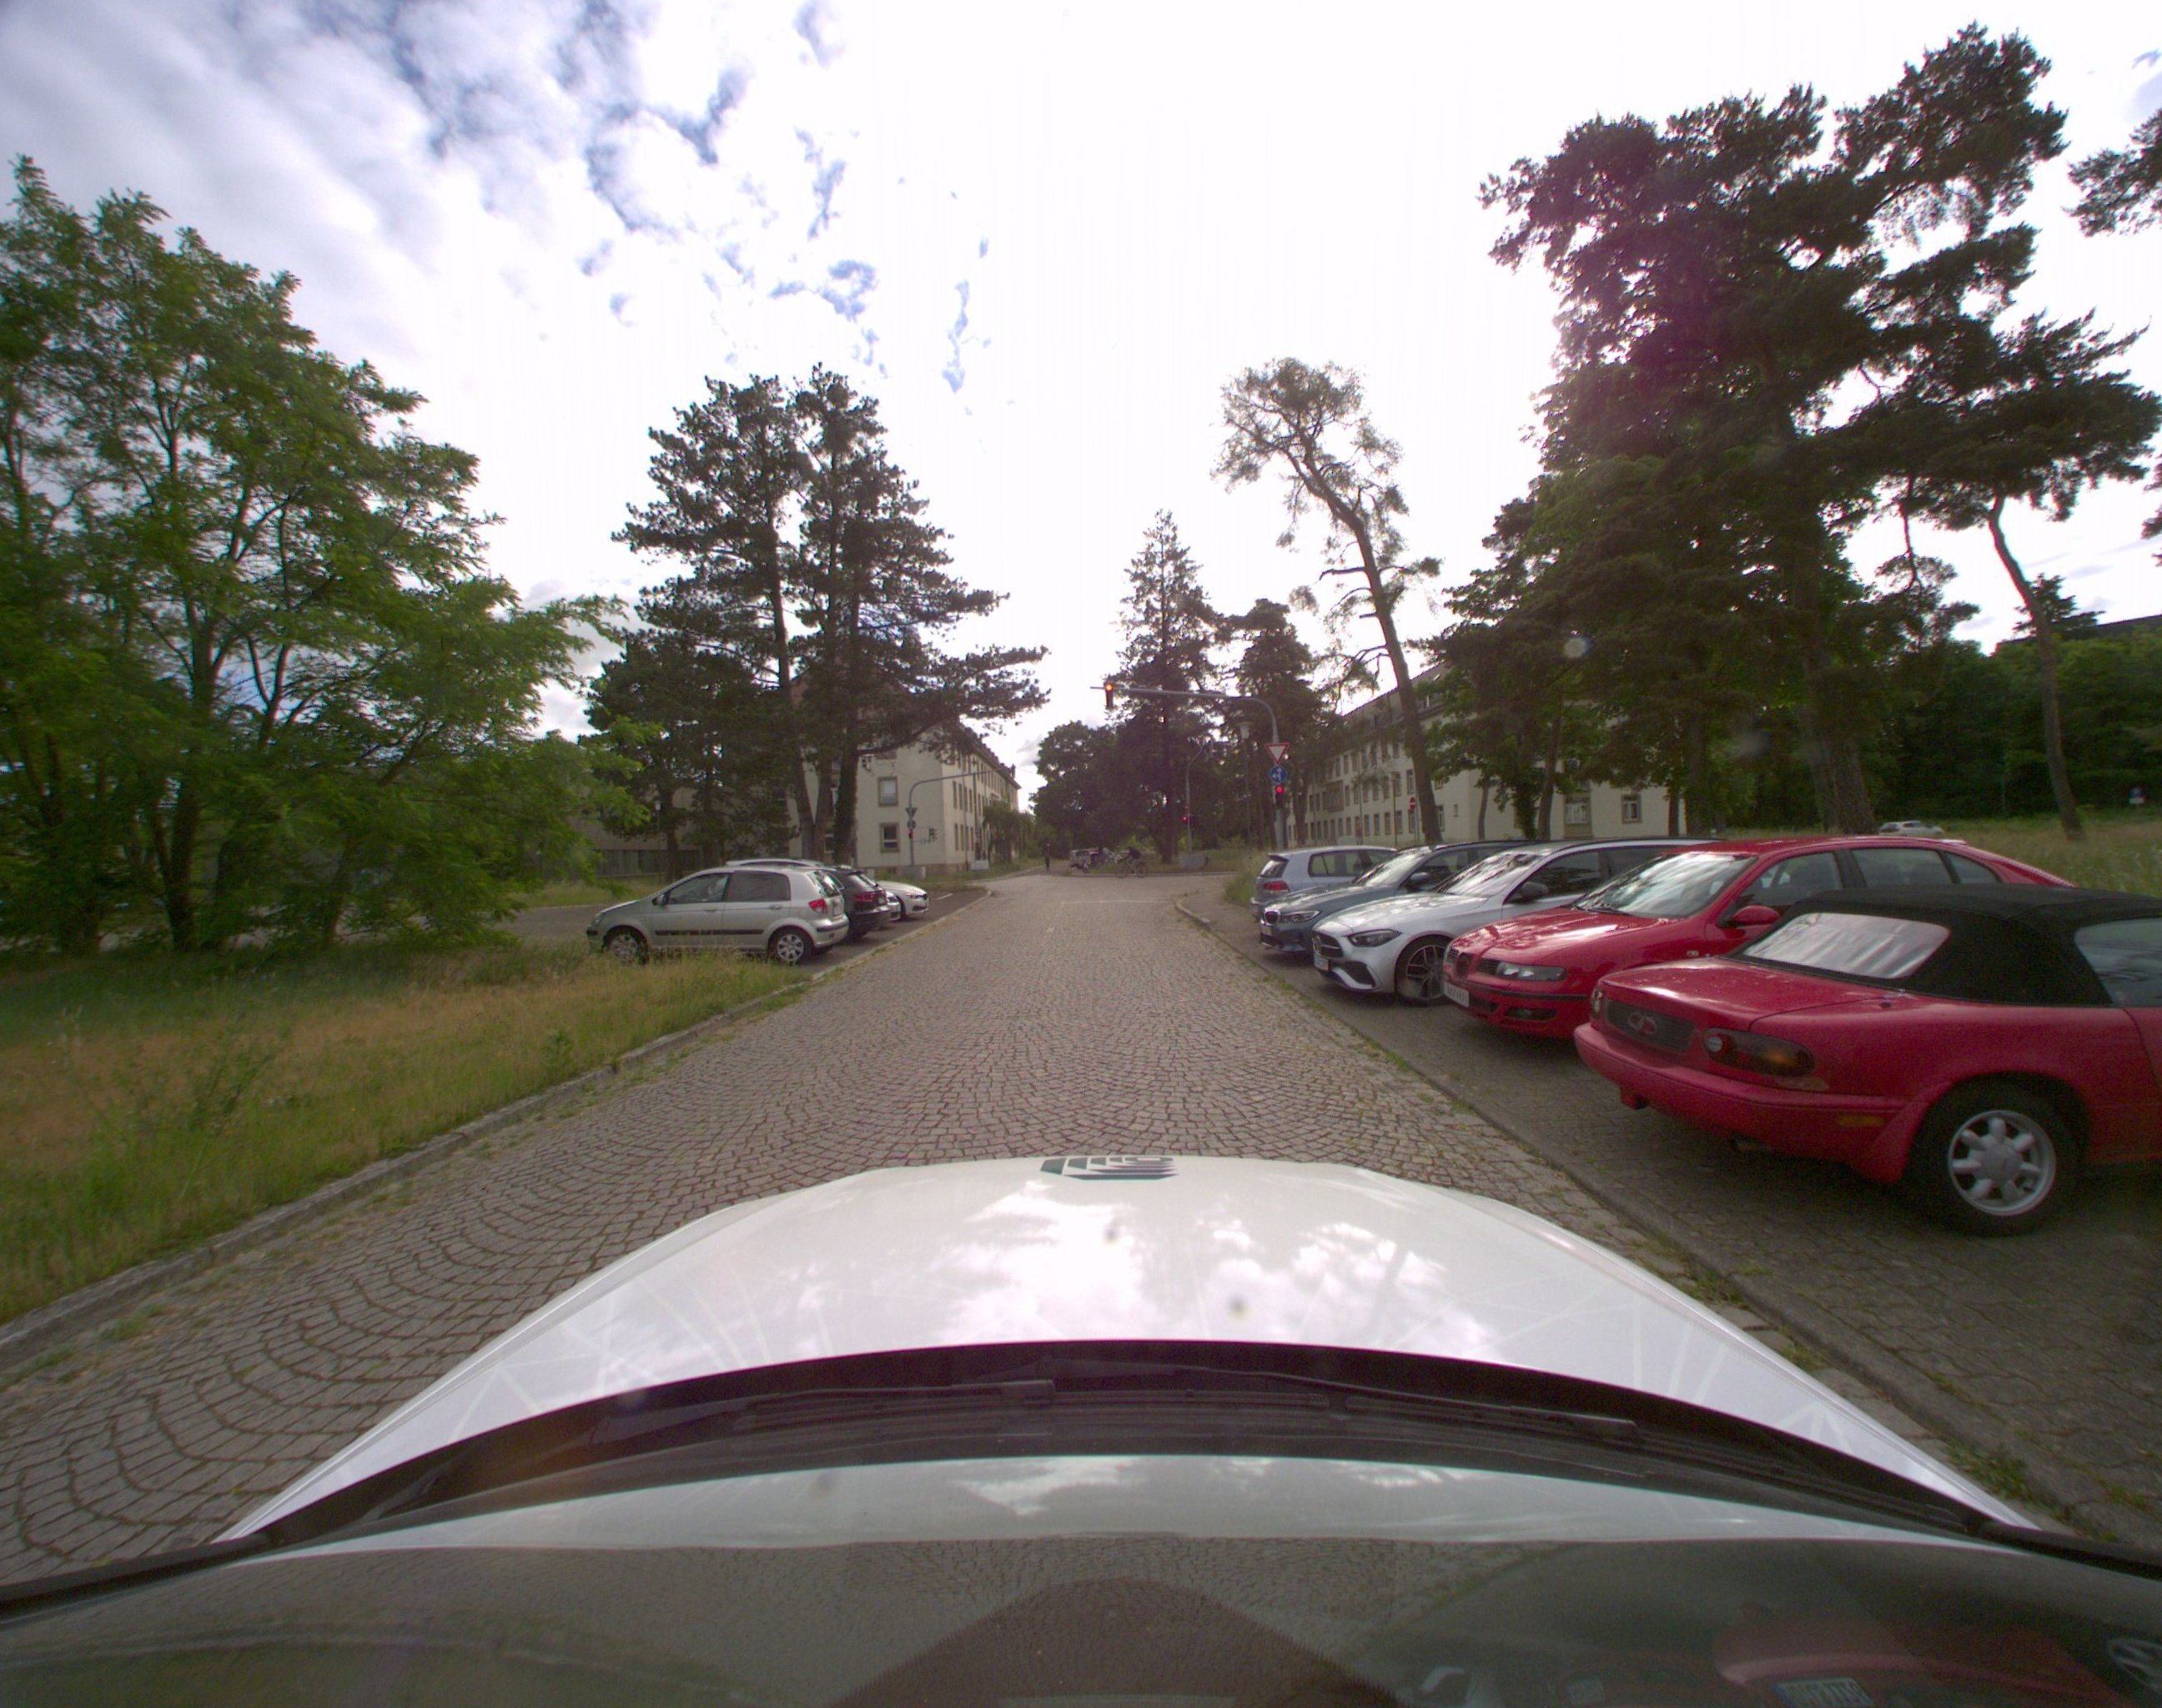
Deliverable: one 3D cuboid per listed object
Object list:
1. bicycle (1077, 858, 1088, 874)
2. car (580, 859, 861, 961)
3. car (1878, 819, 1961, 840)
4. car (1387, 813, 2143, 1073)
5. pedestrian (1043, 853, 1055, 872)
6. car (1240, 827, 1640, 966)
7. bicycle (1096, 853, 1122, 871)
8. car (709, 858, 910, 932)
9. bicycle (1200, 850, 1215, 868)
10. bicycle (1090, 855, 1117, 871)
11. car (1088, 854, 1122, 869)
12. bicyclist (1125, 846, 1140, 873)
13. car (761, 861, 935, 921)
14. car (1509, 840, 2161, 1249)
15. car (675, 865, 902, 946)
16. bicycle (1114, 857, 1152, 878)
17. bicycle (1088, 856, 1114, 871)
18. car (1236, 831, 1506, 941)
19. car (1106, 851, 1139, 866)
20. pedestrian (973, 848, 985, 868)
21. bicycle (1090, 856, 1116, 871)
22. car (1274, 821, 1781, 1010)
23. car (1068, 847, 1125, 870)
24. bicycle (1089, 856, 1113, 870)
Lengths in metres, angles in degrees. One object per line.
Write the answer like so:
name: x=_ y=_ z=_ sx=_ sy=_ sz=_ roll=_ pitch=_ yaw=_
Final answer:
bicycle: x=0.115 y=0.871 z=59.346 sx=0.602 sy=1.132 sz=1.958 roll=-2 pitch=0 yaw=-5
car: x=-5.548 y=0.842 z=12.875 sx=3.694 sy=1.479 sz=1.581 roll=0 pitch=0 yaw=-3
car: x=57.939 y=-1.698 z=56.318 sx=3.931 sy=1.421 sz=1.651 roll=0 pitch=0 yaw=3
car: x=4.877 y=0.580 z=6.312 sx=4.248 sy=1.416 sz=1.871 roll=-4 pitch=0 yaw=0
pedestrian: x=-2.902 y=0.763 z=73.872 sx=0.742 sy=1.618 sz=0.769 roll=-2 pitch=0 yaw=-27
car: x=4.761 y=0.532 z=11.267 sx=4.669 sy=1.416 sz=1.869 roll=-4 pitch=0 yaw=-2
bicycle: x=2.225 y=0.635 z=64.015 sx=1.953 sy=1.384 sz=0.586 roll=-2 pitch=0 yaw=-7
car: x=-5.967 y=0.879 z=18.256 sx=3.938 sy=1.563 sz=1.648 roll=0 pitch=0 yaw=-3
bicycle: x=7.807 y=0.293 z=50.461 sx=0.584 sy=1.106 sz=1.961 roll=-2 pitch=0 yaw=0
bicycle: x=1.740 y=0.710 z=62.549 sx=1.953 sy=1.132 sz=0.586 roll=-2 pitch=0 yaw=-7
car: x=2.242 y=0.706 z=77.257 sx=3.001 sy=1.268 sz=1.532 roll=-3 pitch=0 yaw=-6
bicyclist: x=2.783 y=0.306 z=43.861 sx=0.747 sy=1.410 sz=0.605 roll=-2 pitch=0 yaw=0
car: x=-5.856 y=0.911 z=20.793 sx=3.935 sy=1.421 sz=1.650 roll=0 pitch=0 yaw=-1
car: x=4.446 y=0.675 z=3.880 sx=3.851 sy=1.236 sz=1.757 roll=-4 pitch=0 yaw=-1
car: x=-5.429 y=0.950 z=15.473 sx=3.737 sy=1.428 sz=1.581 roll=0 pitch=0 yaw=-3
bicycle: x=2.802 y=0.717 z=43.866 sx=1.949 sy=1.024 sz=0.605 roll=-2 pitch=0 yaw=0
bicycle: x=1.589 y=0.764 z=64.664 sx=1.967 sy=1.069 sz=0.582 roll=-2 pitch=0 yaw=-30
car: x=4.743 y=0.503 z=13.717 sx=3.912 sy=1.477 sz=1.643 roll=-4 pitch=0 yaw=1
car: x=4.262 y=0.469 z=84.522 sx=3.224 sy=1.416 sz=1.723 roll=-3 pitch=0 yaw=-3
pedestrian: x=-9.795 y=0.381 z=78.248 sx=0.779 sy=1.837 sz=0.733 roll=-2 pitch=0 yaw=-31
bicycle: x=1.682 y=0.736 z=63.182 sx=1.953 sy=1.117 sz=0.586 roll=-2 pitch=0 yaw=-7
car: x=4.523 y=0.543 z=8.579 sx=4.421 sy=1.416 sz=1.865 roll=-4 pitch=0 yaw=-9
car: x=1.503 y=0.460 z=80.633 sx=5.359 sy=1.925 sz=2.019 roll=-4 pitch=0 yaw=-9
bicycle: x=1.701 y=0.752 z=69.701 sx=1.964 sy=1.069 sz=0.583 roll=-2 pitch=0 yaw=-25
